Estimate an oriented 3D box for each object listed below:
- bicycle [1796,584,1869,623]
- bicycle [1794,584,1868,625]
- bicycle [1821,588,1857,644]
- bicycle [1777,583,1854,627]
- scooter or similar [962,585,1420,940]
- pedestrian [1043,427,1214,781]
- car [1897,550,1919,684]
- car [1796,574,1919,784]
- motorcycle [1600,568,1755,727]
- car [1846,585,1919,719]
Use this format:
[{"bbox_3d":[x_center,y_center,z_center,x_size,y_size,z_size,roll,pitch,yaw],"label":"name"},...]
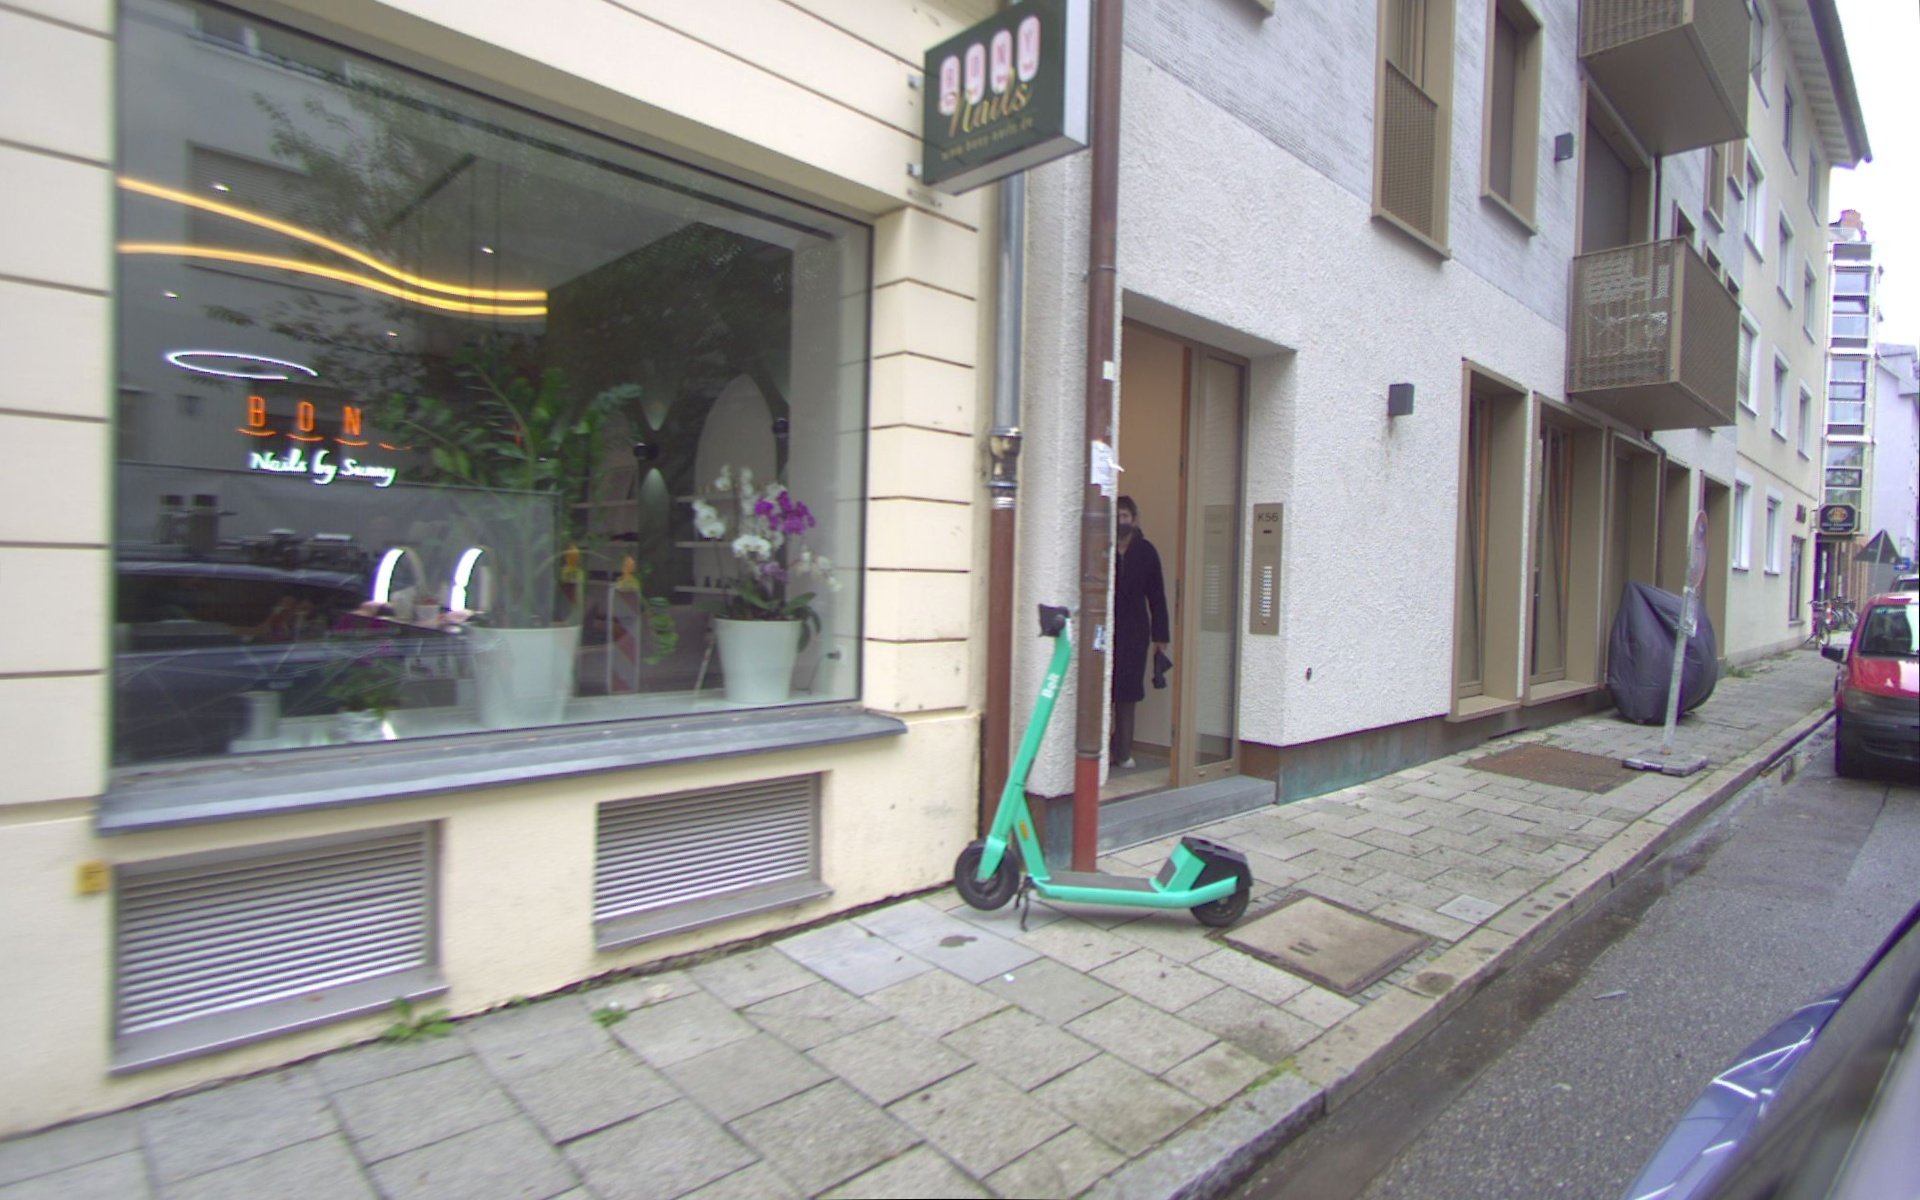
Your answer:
[{"bbox_3d":[30.237,0.097,35.110,0.581,1.244,1.882,0,3,-14],"label":"bicycle"},{"bbox_3d":[28.853,0.143,33.553,0.434,1.201,1.755,0,4,-37],"label":"bicycle"},{"bbox_3d":[21.172,0.367,24.372,1.789,1.228,0.410,-2,6,-44],"label":"bicycle"},{"bbox_3d":[28.134,0.154,33.297,1.784,1.339,0.583,2,2,21],"label":"bicycle"},{"bbox_3d":[0.843,0.600,3.934,1.576,1.197,0.496,3,3,-3],"label":"scooter or similar"},{"bbox_3d":[1.008,0.028,6.132,0.776,2.037,0.438,2,3,-17],"label":"pedestrian"},{"bbox_3d":[16.486,0.249,16.302,1.990,2.001,4.808,0,0,43],"label":"car"},{"bbox_3d":[8.642,0.570,8.635,3.997,1.543,1.774,0,0,-42],"label":"car"},{"bbox_3d":[7.501,0.441,10.548,1.900,1.439,0.807,0,7,-43],"label":"motorcycle"},{"bbox_3d":[12.363,0.569,12.446,4.306,1.479,1.770,0,0,-43],"label":"car"}]
